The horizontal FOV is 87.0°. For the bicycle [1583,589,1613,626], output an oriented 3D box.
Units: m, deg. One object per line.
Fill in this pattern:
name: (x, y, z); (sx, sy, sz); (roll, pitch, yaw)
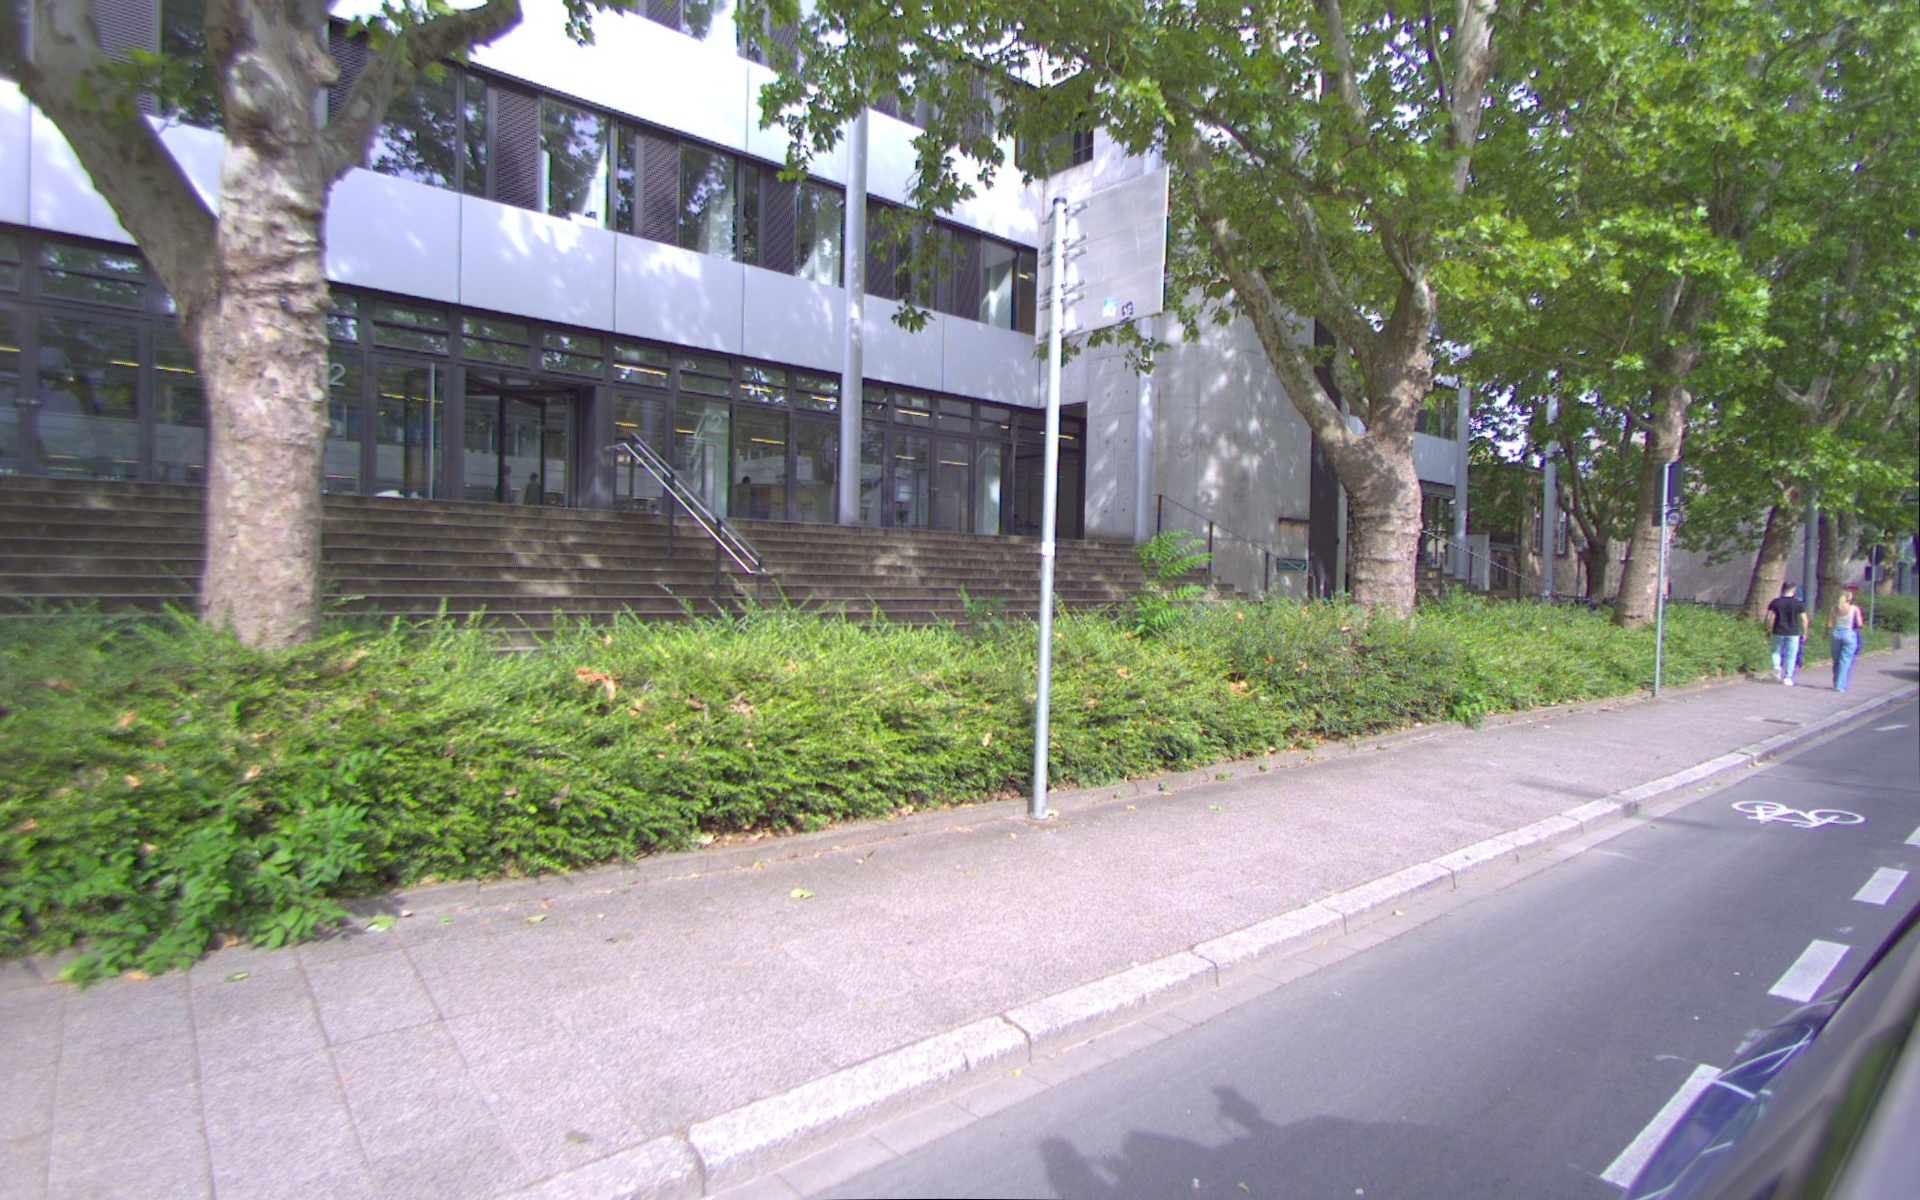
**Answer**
bicycle: (20.234, 0.217, 32.091); (0.491, 1.131, 1.415); (3, 2, 44)

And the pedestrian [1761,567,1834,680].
pedestrian: (14.130, 0.373, 17.069); (1.016, 1.821, 0.716); (0, 3, -42)

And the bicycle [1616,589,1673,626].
bicycle: (22.524, 0.236, 33.322); (0.461, 1.131, 1.447); (0, 2, -43)

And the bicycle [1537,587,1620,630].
bicycle: (17.980, 0.242, 29.471); (0.661, 1.131, 1.919); (1, 2, -40)

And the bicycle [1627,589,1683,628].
bicycle: (21.833, 0.261, 31.805); (1.378, 1.131, 0.461); (4, 2, 43)

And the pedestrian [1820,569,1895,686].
pedestrian: (14.625, 0.422, 16.494); (1.016, 1.805, 0.712); (0, 3, -42)

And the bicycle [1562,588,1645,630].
bicycle: (18.963, 0.242, 29.859); (0.661, 1.131, 1.919); (1, 2, -40)

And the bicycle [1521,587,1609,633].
bicycle: (16.487, 0.265, 27.610); (0.661, 1.131, 1.919); (1, 2, -40)

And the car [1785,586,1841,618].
car: (43.959, 0.106, 52.137); (4.223, 1.468, 1.671); (3, -1, -42)

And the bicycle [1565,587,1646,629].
bicycle: (19.603, 0.230, 30.761); (0.661, 1.131, 1.919); (1, 2, -40)

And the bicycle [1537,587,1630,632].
bicycle: (17.497, 0.257, 28.448); (0.661, 1.131, 2.084); (1, 2, -40)
